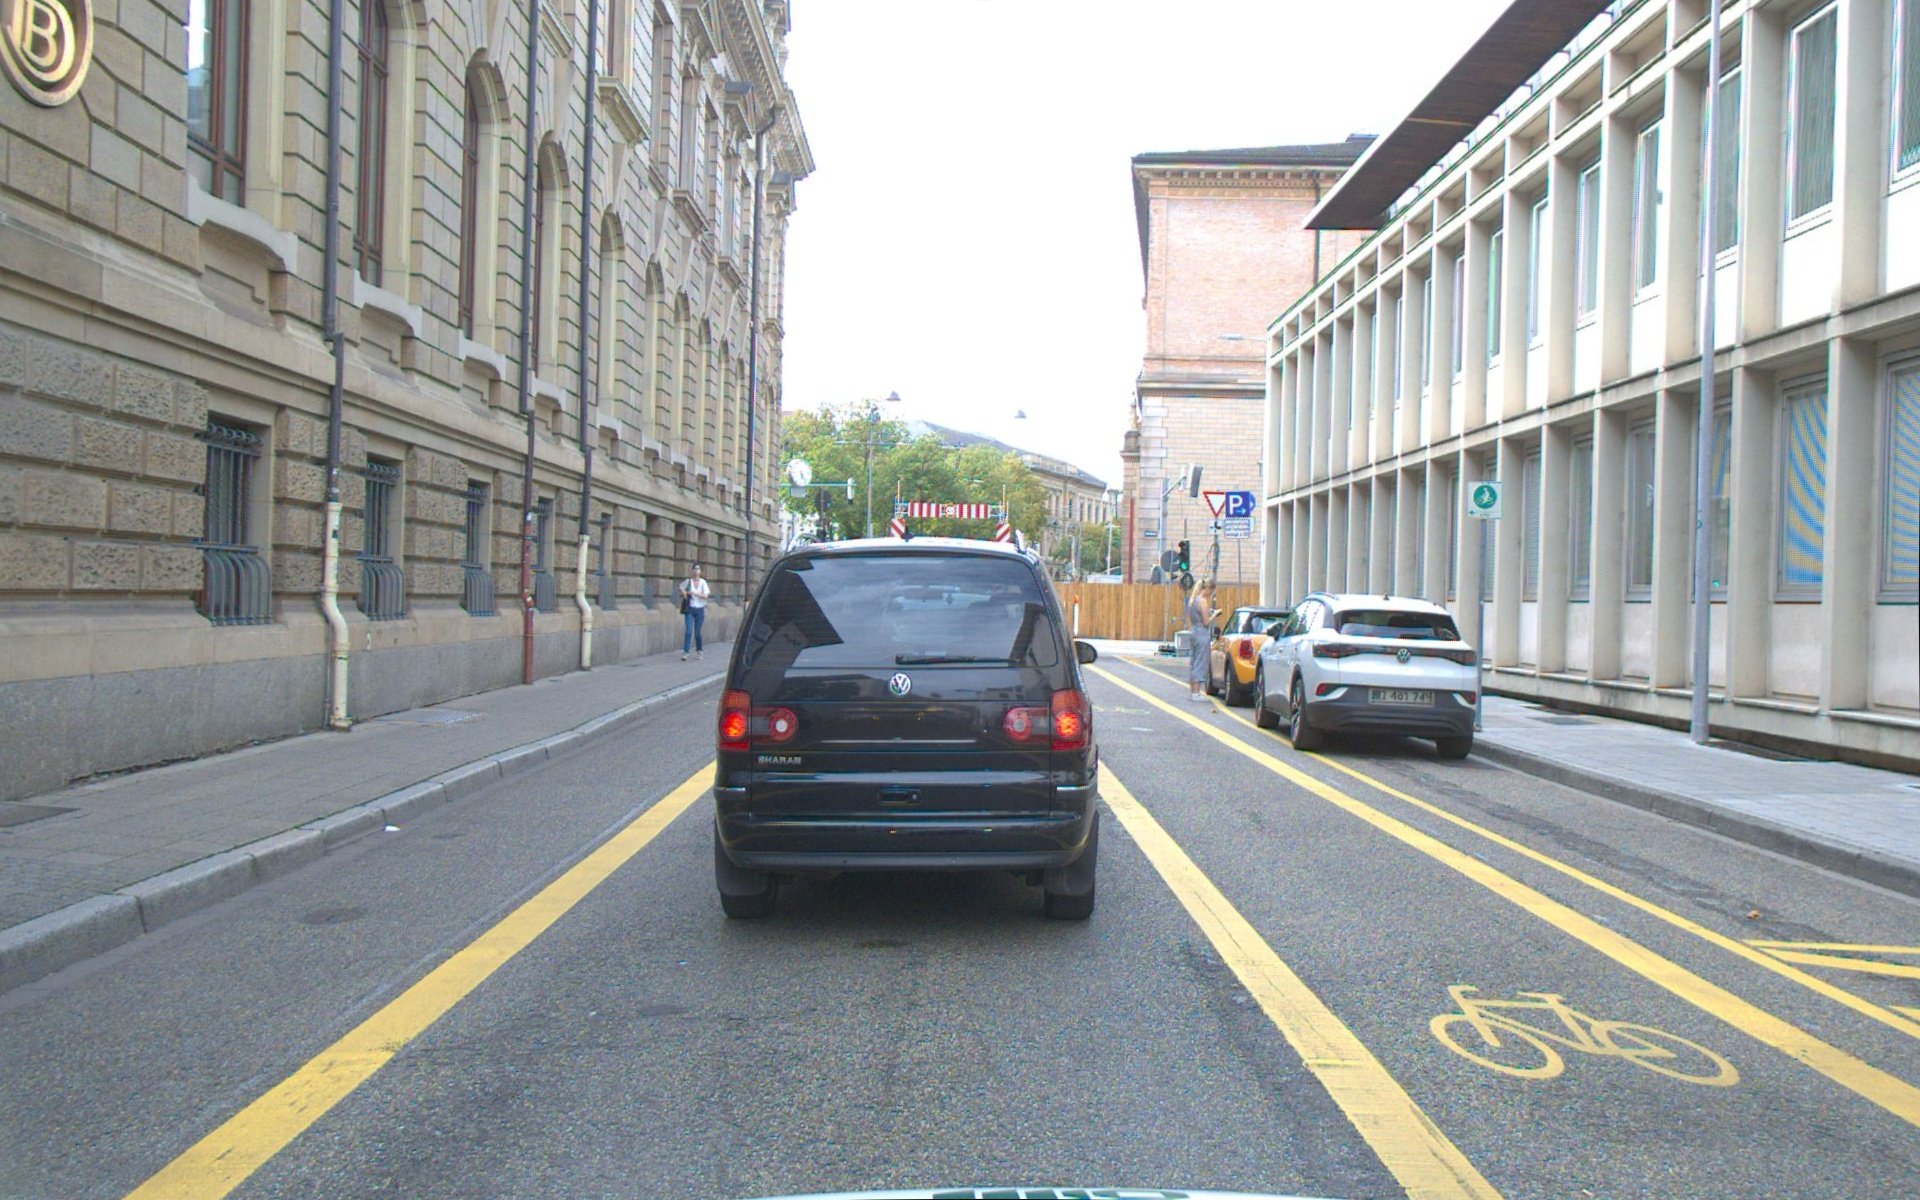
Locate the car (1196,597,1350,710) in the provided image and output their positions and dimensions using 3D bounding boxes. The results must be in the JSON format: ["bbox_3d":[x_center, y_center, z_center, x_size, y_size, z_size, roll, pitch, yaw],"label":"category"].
[{"bbox_3d":[4.682,0.755,25.192,1.645,1.459,3.887,4,0,2],"label":"car"}]

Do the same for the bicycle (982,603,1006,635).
[{"bbox_3d":[1.123,0.623,55.355,0.720,1.026,2.068,1,0,-1],"label":"bicycle"}]

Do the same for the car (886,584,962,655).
[{"bbox_3d":[-0.864,0.454,40.252,1.737,1.613,3.999,1,0,-1],"label":"car"}]

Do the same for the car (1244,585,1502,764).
[{"bbox_3d":[4.460,0.739,18.582,1.822,1.633,4.513,4,0,2],"label":"car"}]

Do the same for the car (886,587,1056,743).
[{"bbox_3d":[0.179,0.649,18.421,1.643,1.495,4.104,1,0,2],"label":"car"}]

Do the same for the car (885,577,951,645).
[{"bbox_3d":[-1.234,0.304,47.258,1.700,1.821,4.100,2,0,-4],"label":"car"}]

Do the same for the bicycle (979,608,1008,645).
[{"bbox_3d":[0.932,0.732,46.416,0.720,1.026,2.068,1,0,-1],"label":"bicycle"}]

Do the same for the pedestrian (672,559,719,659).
[{"bbox_3d":[-5.047,0.171,31.584,0.650,1.851,1.048,3,-1,-1],"label":"pedestrian"}]

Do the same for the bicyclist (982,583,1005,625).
[{"bbox_3d":[1.134,0.142,55.342,0.720,1.399,0.831,1,0,-1],"label":"bicyclist"}]

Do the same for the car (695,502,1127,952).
[{"bbox_3d":[-0.129,0.520,8.773,1.752,1.821,4.104,0,0,2],"label":"car"}]

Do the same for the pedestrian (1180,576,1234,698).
[{"bbox_3d":[3.685,0.549,24.736,0.683,1.794,0.706,1,-1,0],"label":"pedestrian"}]

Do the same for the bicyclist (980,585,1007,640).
[{"bbox_3d":[0.939,0.355,46.377,0.720,1.504,0.884,1,0,-1],"label":"bicyclist"}]

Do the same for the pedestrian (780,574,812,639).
[{"bbox_3d":[-4.866,0.196,49.142,0.776,1.851,1.048,3,-1,-1],"label":"pedestrian"}]

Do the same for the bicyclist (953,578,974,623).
[{"bbox_3d":[0.133,0.018,59.199,0.720,1.582,0.895,1,-1,-1],"label":"bicyclist"}]

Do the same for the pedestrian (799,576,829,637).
[{"bbox_3d":[-4.595,0.200,52.091,0.776,1.851,1.048,3,-1,-1],"label":"pedestrian"}]
